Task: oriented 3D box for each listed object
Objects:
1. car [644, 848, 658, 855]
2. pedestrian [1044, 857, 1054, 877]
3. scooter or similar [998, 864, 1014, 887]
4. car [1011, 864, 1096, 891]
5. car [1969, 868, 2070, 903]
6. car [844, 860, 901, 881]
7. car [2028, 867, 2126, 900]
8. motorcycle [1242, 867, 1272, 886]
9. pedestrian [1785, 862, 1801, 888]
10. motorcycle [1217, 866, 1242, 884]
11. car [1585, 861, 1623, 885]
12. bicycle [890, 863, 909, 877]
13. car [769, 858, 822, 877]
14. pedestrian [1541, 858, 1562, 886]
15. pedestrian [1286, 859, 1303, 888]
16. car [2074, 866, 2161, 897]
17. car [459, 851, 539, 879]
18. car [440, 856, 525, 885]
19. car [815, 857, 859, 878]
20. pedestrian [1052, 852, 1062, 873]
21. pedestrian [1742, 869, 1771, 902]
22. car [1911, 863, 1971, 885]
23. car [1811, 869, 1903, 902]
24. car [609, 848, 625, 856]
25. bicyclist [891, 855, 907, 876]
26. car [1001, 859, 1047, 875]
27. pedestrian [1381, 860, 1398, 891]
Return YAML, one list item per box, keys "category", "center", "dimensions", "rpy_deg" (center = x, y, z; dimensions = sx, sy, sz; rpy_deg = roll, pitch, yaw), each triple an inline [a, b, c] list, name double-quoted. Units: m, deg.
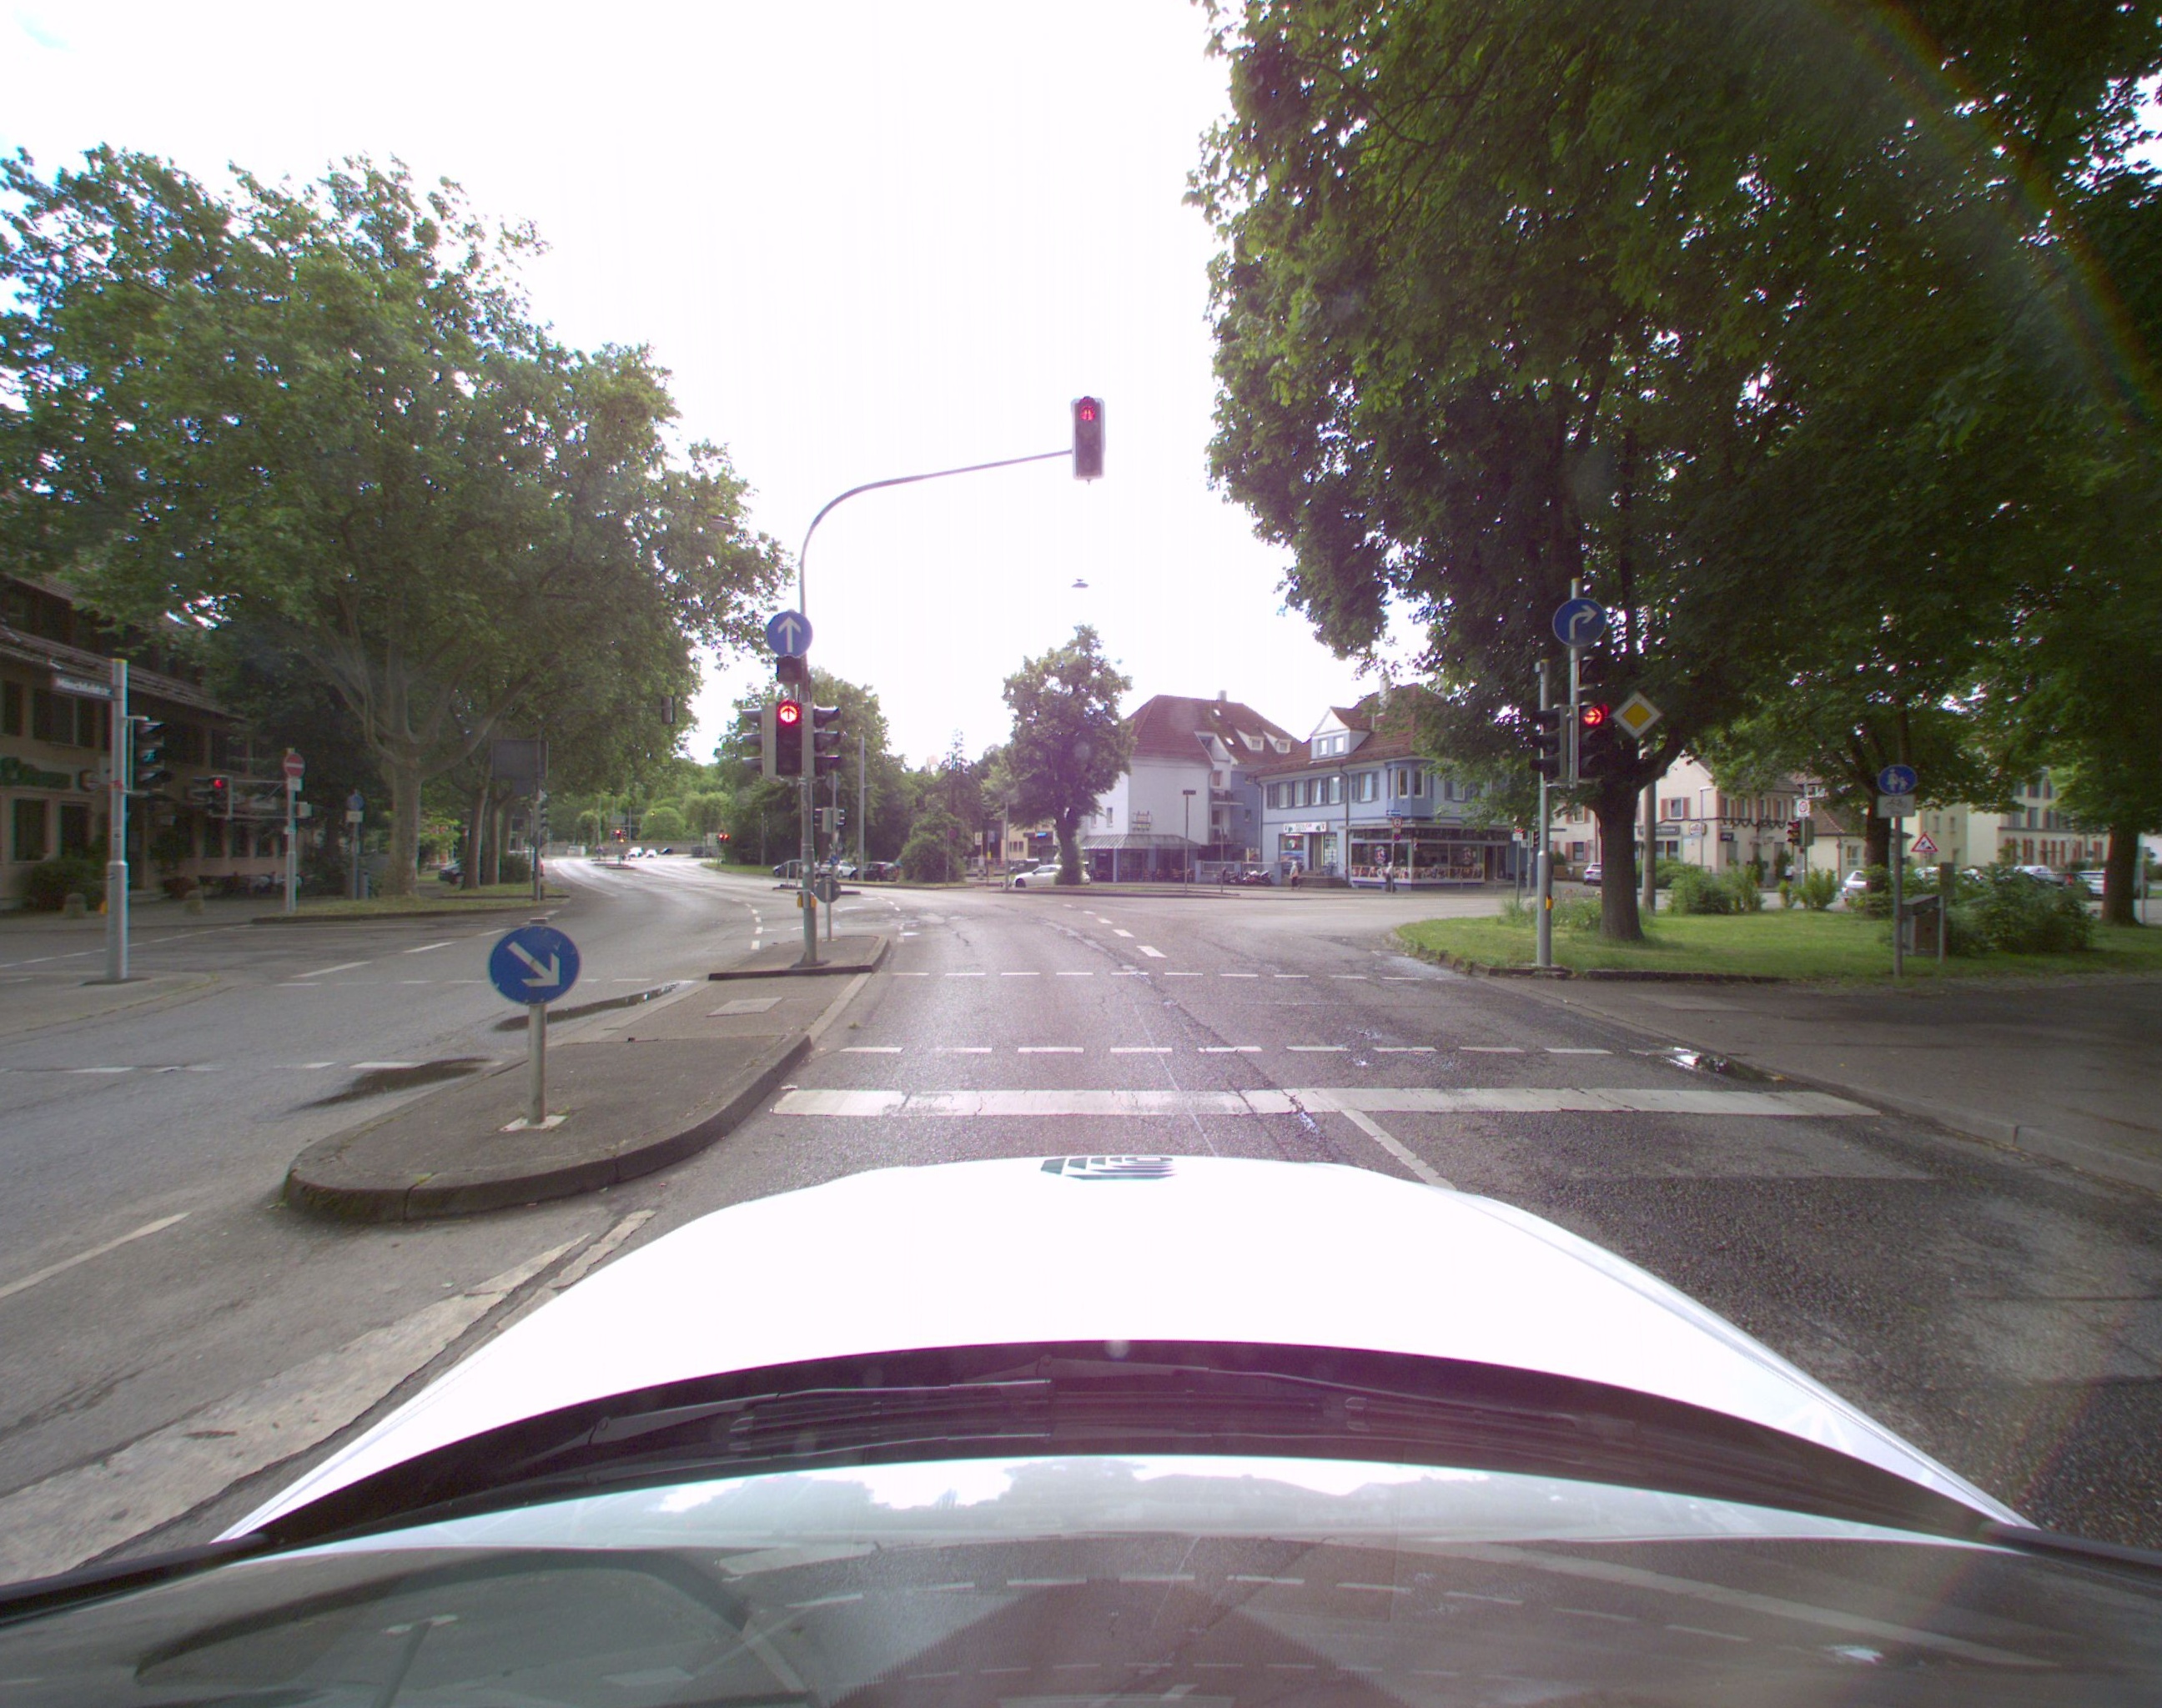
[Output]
- category: "car"
  center: [-83.082, -0.453, 157.346]
  dimensions: [2.988, 1.417, 1.509]
  rpy_deg: [-1, -2, 42]
- category: "pedestrian"
  center: [-3.199, 1.304, 80.956]
  dimensions: [0.838, 2.014, 1.051]
  rpy_deg: [0, -1, -12]
- category: "scooter or similar"
  center: [-3.948, 1.142, 42.847]
  dimensions: [0.439, 1.175, 1.442]
  rpy_deg: [-1, -1, 11]
- category: "car"
  center: [-1.591, 1.289, 45.934]
  dimensions: [4.654, 1.410, 1.914]
  rpy_deg: [0, -1, 37]
- category: "car"
  center: [42.350, 1.383, 36.757]
  dimensions: [3.731, 1.457, 1.640]
  rpy_deg: [0, 0, -17]
- category: "car"
  center: [-13.823, 1.059, 54.002]
  dimensions: [3.285, 1.352, 1.791]
  rpy_deg: [0, 0, 29]
- category: "car"
  center: [47.084, 1.374, 38.520]
  dimensions: [3.731, 1.457, 1.640]
  rpy_deg: [0, 0, -17]
- category: "motorcycle"
  center: [10.432, 1.322, 48.247]
  dimensions: [1.609, 1.088, 0.631]
  rpy_deg: [-1, -1, 34]
- category: "pedestrian"
  center: [42.583, 1.254, 48.701]
  dimensions: [0.504, 1.560, 0.507]
  rpy_deg: [0, -1, -13]
- category: "motorcycle"
  center: [9.138, 1.312, 50.049]
  dimensions: [1.441, 1.088, 0.527]
  rpy_deg: [-1, -1, 37]
- category: "car"
  center: [32.462, 1.145, 50.624]
  dimensions: [1.866, 1.391, 3.637]
  rpy_deg: [0, 0, 31]
- category: "bicycle"
  center: [-14.715, 1.281, 66.013]
  dimensions: [0.868, 1.149, 1.958]
  rpy_deg: [0, 0, 9]
- category: "car"
  center: [-22.586, 1.032, 64.516]
  dimensions: [3.742, 1.465, 1.629]
  rpy_deg: [0, 0, 20]
- category: "pedestrian"
  center: [26.393, 0.992, 45.661]
  dimensions: [0.671, 1.560, 0.743]
  rpy_deg: [0, -1, -13]
- category: "pedestrian"
  center: [11.835, 1.081, 45.147]
  dimensions: [0.724, 1.560, 0.773]
  rpy_deg: [-1, -1, 33]
- category: "car"
  center: [52.600, 1.374, 41.258]
  dimensions: [3.731, 1.457, 1.640]
  rpy_deg: [0, 0, -17]
- category: "car"
  center: [-36.456, 0.684, 51.176]
  dimensions: [4.015, 1.684, 1.979]
  rpy_deg: [0, -1, -34]
- category: "car"
  center: [-35.626, 0.959, 48.607]
  dimensions: [4.015, 1.684, 1.979]
  rpy_deg: [0, -1, -34]
- category: "car"
  center: [-20.132, 1.090, 67.407]
  dimensions: [1.848, 1.640, 3.768]
  rpy_deg: [0, 0, 13]
- category: "pedestrian"
  center: [-1.756, 0.619, 59.423]
  dimensions: [0.538, 1.560, 0.470]
  rpy_deg: [-1, -1, 15]
- category: "pedestrian"
  center: [22.155, 1.029, 26.724]
  dimensions: [0.505, 1.081, 0.514]
  rpy_deg: [0, -1, -13]
- category: "car"
  center: [57.365, 1.325, 54.315]
  dimensions: [3.871, 1.447, 1.753]
  rpy_deg: [0, -1, -28]
- category: "car"
  center: [31.805, 1.277, 33.385]
  dimensions: [3.007, 1.267, 1.455]
  rpy_deg: [0, -1, -17]
- category: "car"
  center: [-87.260, -0.337, 153.176]
  dimensions: [3.293, 1.486, 1.594]
  rpy_deg: [-1, -2, 43]
- category: "bicyclist"
  center: [-14.737, 0.908, 66.022]
  dimensions: [0.910, 1.651, 0.991]
  rpy_deg: [0, -1, 9]
- category: "car"
  center: [-5.318, 1.240, 75.919]
  dimensions: [3.948, 1.442, 1.742]
  rpy_deg: [0, 0, -18]
- category: "pedestrian"
  center: [15.902, 1.110, 42.018]
  dimensions: [0.687, 1.560, 0.671]
  rpy_deg: [-1, -1, 33]
